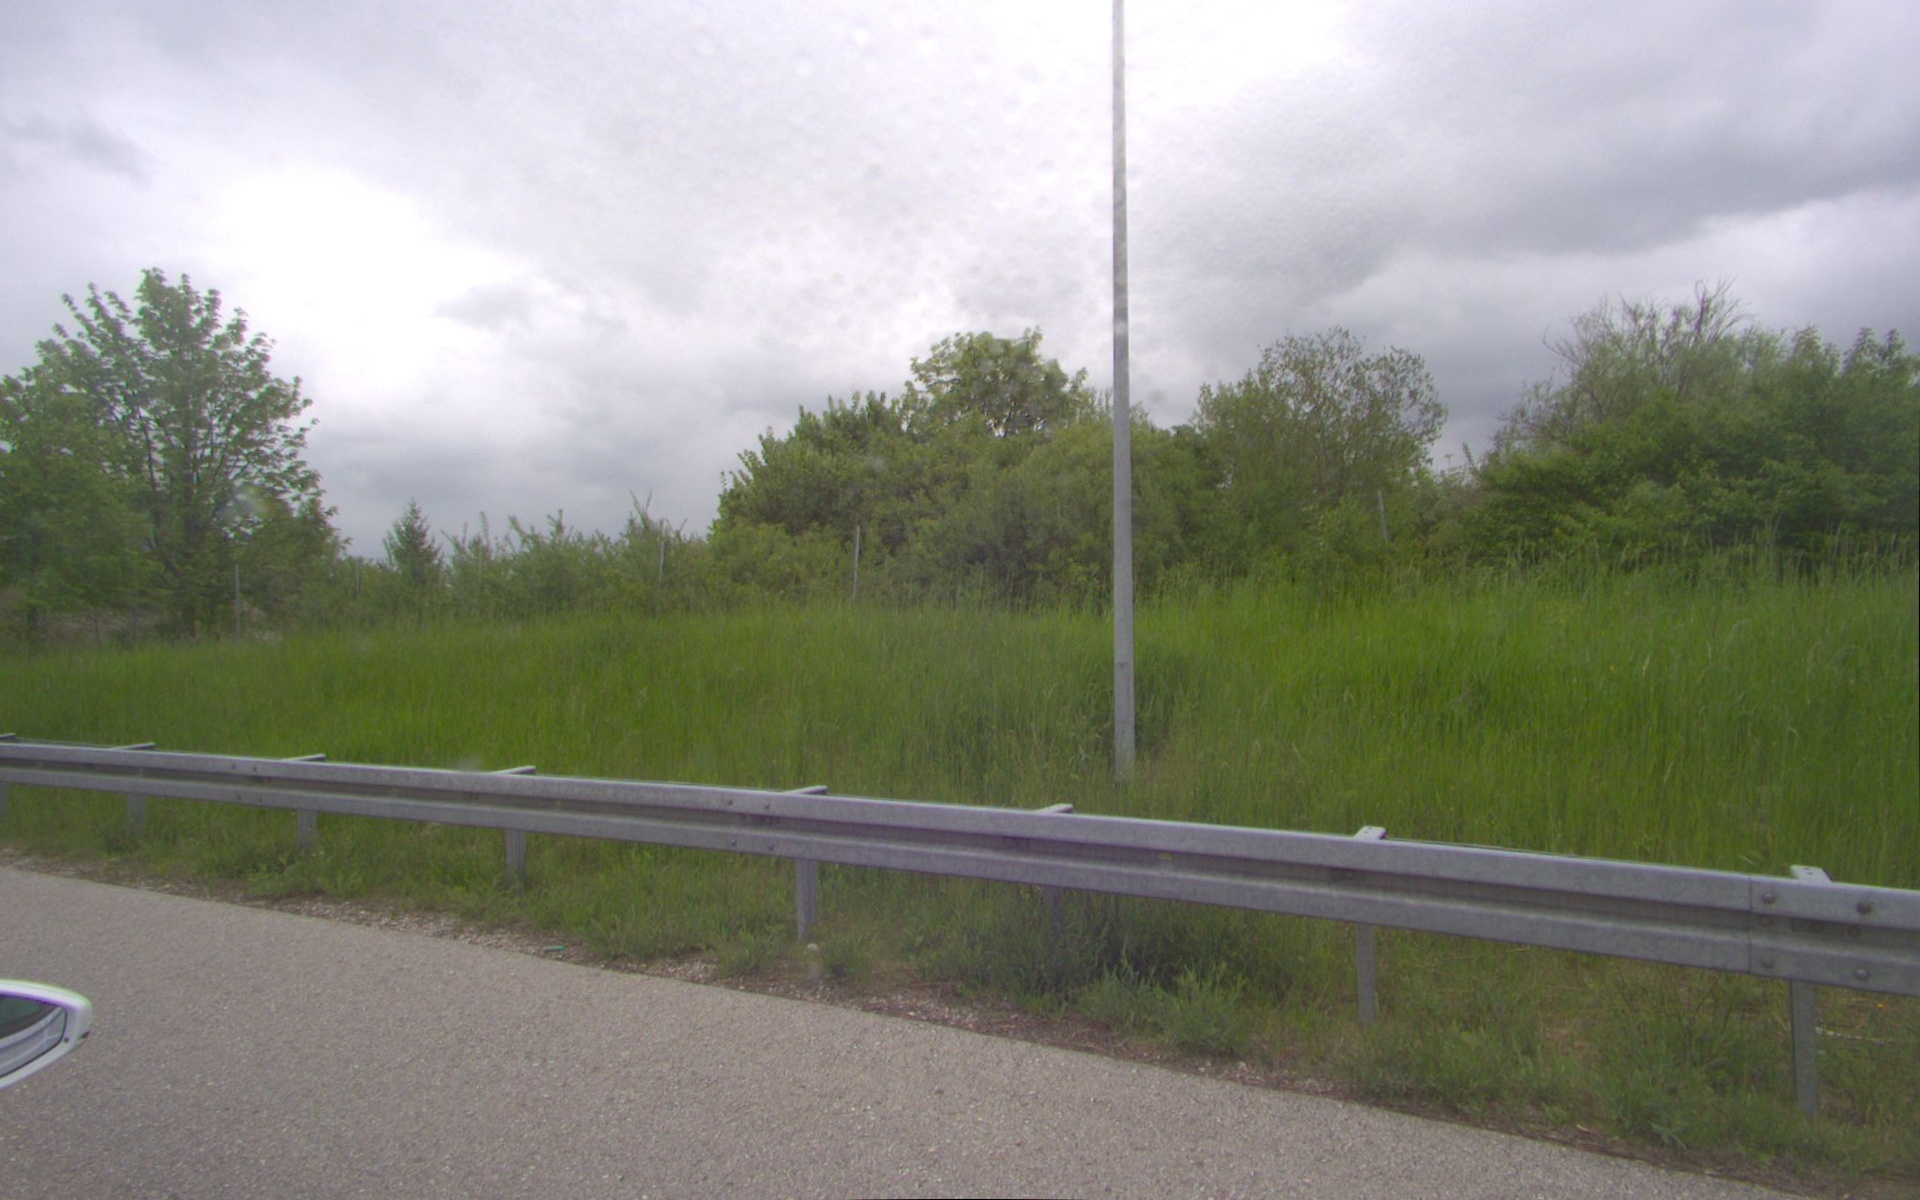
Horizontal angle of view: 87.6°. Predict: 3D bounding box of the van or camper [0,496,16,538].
[{"bbox_3d":[-43.351,-3.805,42.451,1.860,1.792,5.454,0,-2,-6],"label":"van or camper"}]
